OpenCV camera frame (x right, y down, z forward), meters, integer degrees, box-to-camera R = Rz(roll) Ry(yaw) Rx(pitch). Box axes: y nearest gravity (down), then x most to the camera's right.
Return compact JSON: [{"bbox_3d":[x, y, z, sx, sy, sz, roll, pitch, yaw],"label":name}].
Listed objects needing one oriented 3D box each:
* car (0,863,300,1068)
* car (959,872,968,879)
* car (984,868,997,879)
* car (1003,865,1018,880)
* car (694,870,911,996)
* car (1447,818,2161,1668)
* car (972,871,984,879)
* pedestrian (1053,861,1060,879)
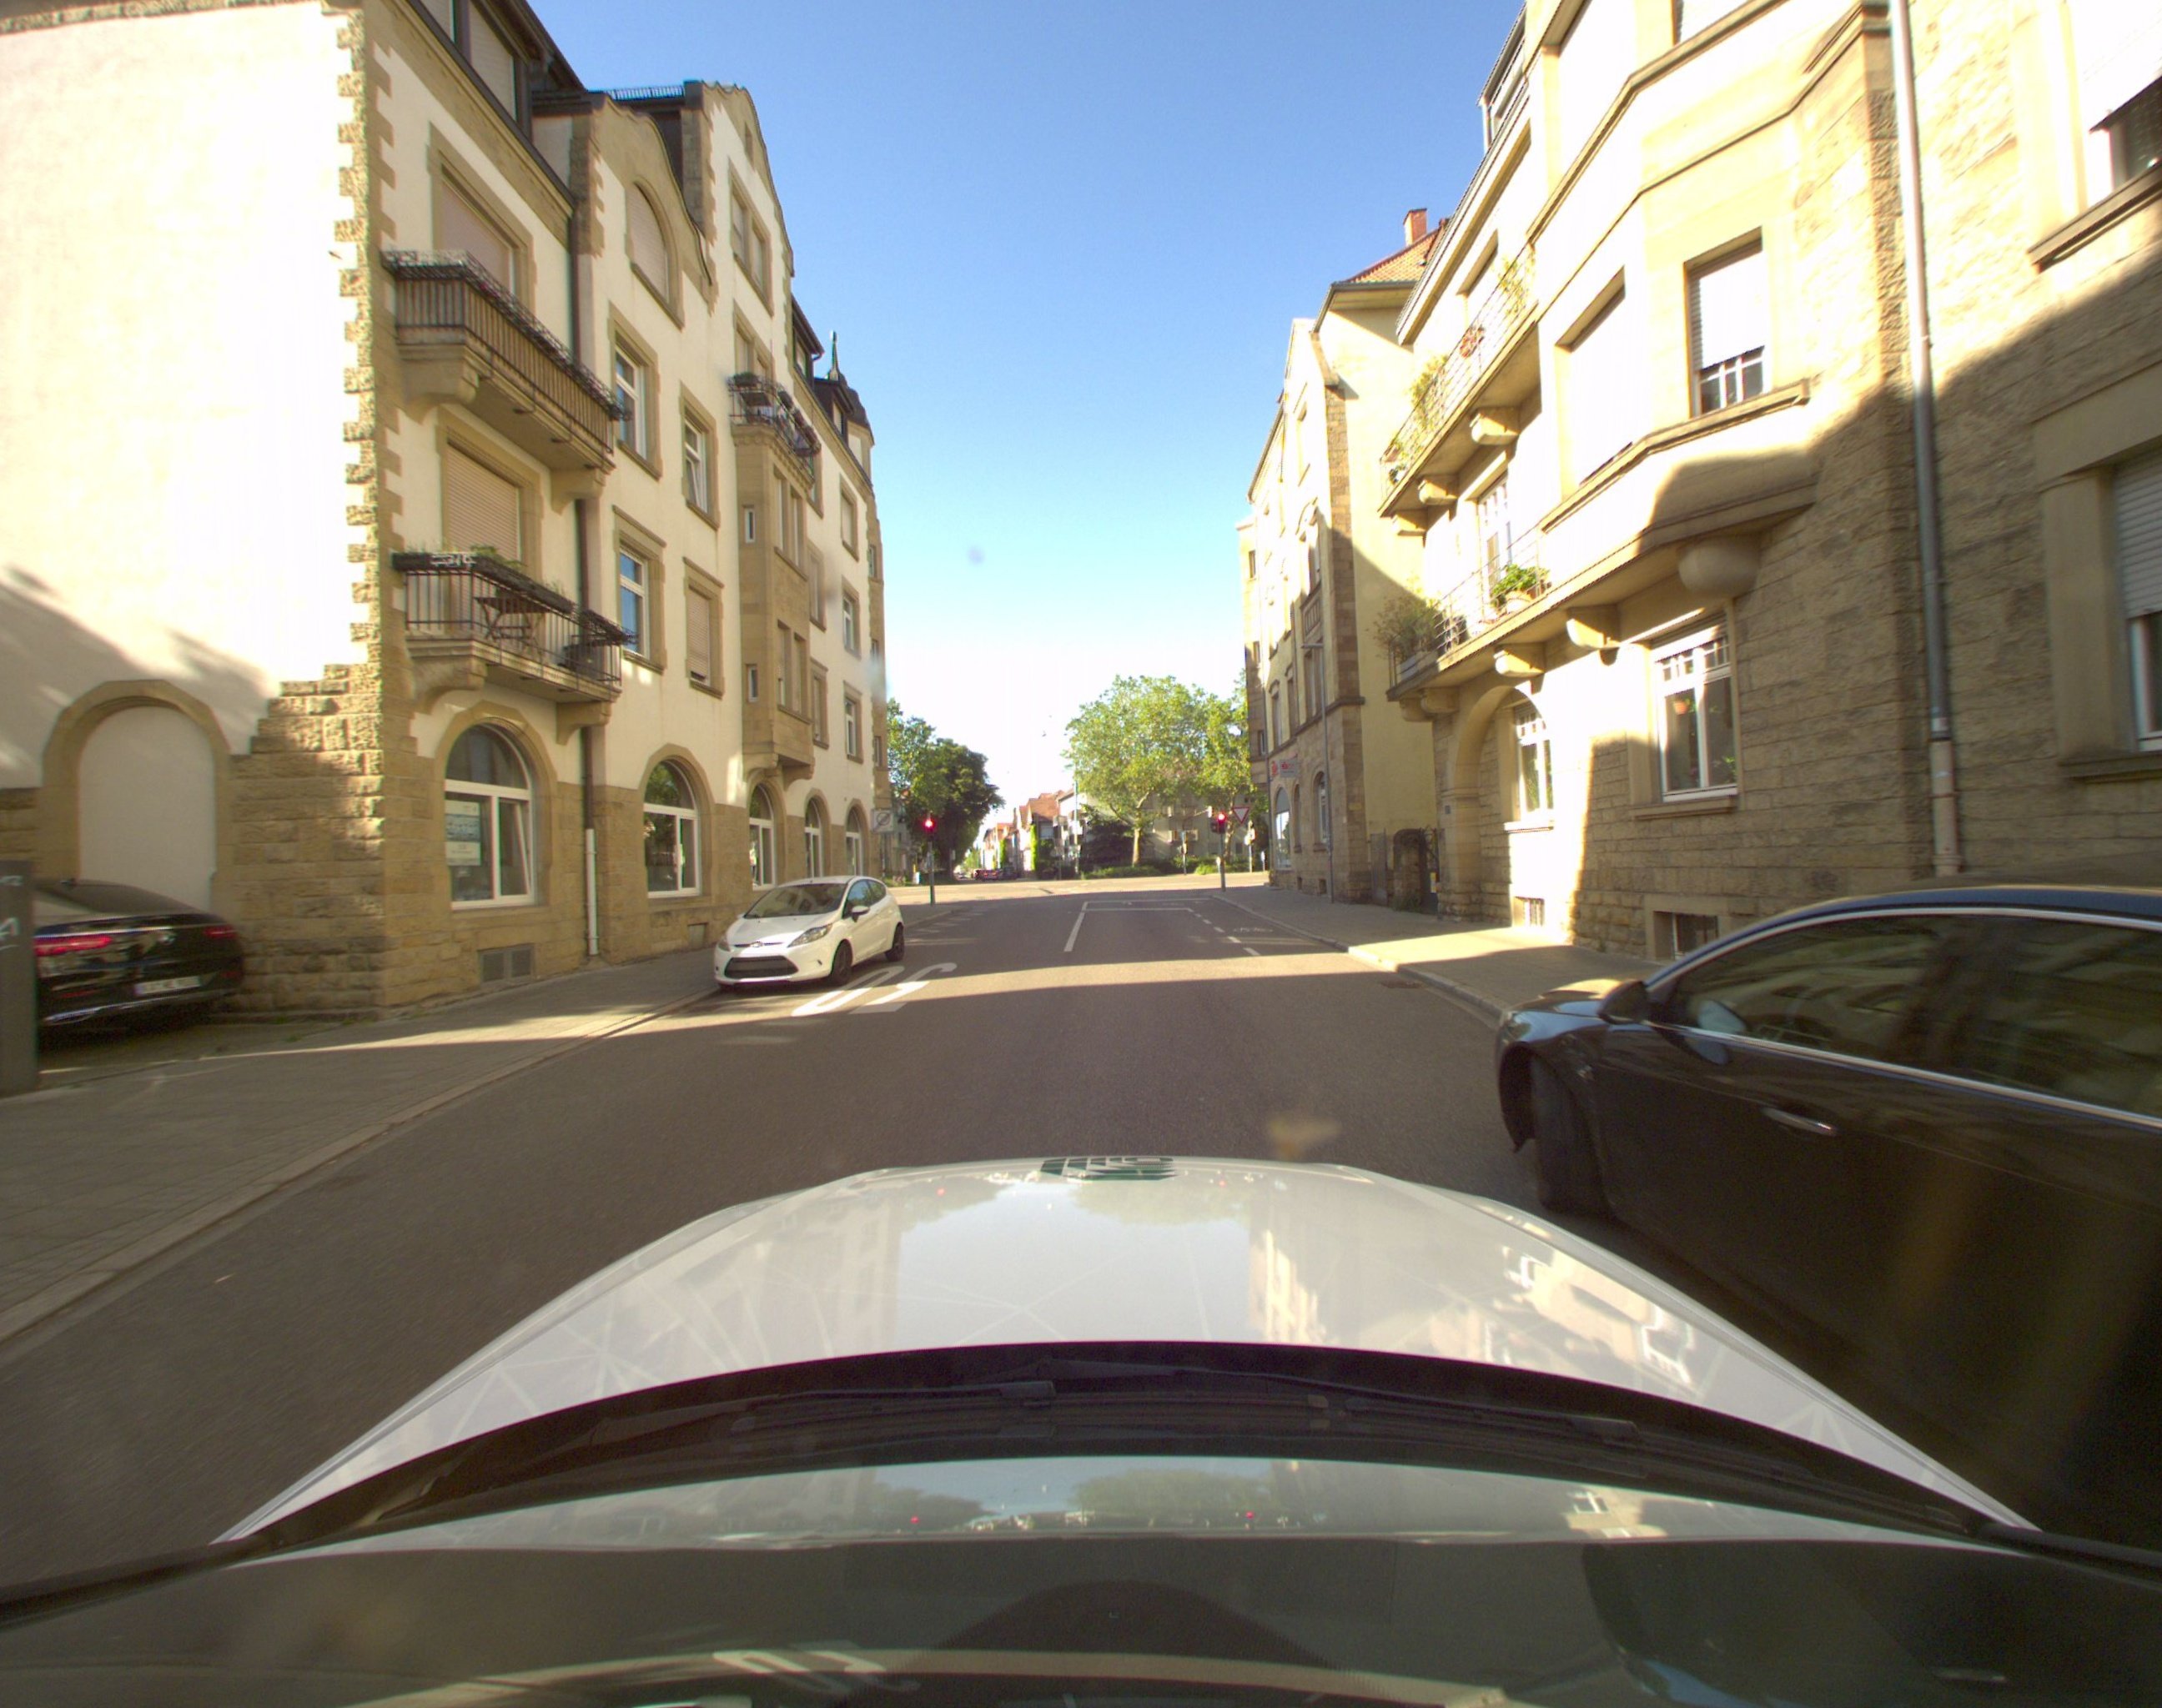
[{"bbox_3d":[-10.631,1.045,8.017,3.955,1.728,1.909,-3,0,0],"label":"car"},{"bbox_3d":[-27.037,4.940,187.319,1.994,1.446,3.985,-2,0,-11],"label":"car"},{"bbox_3d":[-12.835,2.811,114.959,1.673,1.483,3.511,-1,-1,-8],"label":"car"},{"bbox_3d":[-10.020,2.586,115.384,1.991,2.013,3.991,-2,0,-6],"label":"car"},{"bbox_3d":[-3.874,1.025,12.021,1.626,1.464,3.739,-2,-1,5],"label":"car"},{"bbox_3d":[2.786,0.641,2.019,1.859,1.462,4.341,-2,0,2],"label":"car"},{"bbox_3d":[-17.391,3.509,137.306,1.738,1.336,3.820,-2,0,-10],"label":"car"},{"bbox_3d":[-2.434,1.599,80.422,0.631,1.750,0.659,-1,-1,-1],"label":"pedestrian"}]
